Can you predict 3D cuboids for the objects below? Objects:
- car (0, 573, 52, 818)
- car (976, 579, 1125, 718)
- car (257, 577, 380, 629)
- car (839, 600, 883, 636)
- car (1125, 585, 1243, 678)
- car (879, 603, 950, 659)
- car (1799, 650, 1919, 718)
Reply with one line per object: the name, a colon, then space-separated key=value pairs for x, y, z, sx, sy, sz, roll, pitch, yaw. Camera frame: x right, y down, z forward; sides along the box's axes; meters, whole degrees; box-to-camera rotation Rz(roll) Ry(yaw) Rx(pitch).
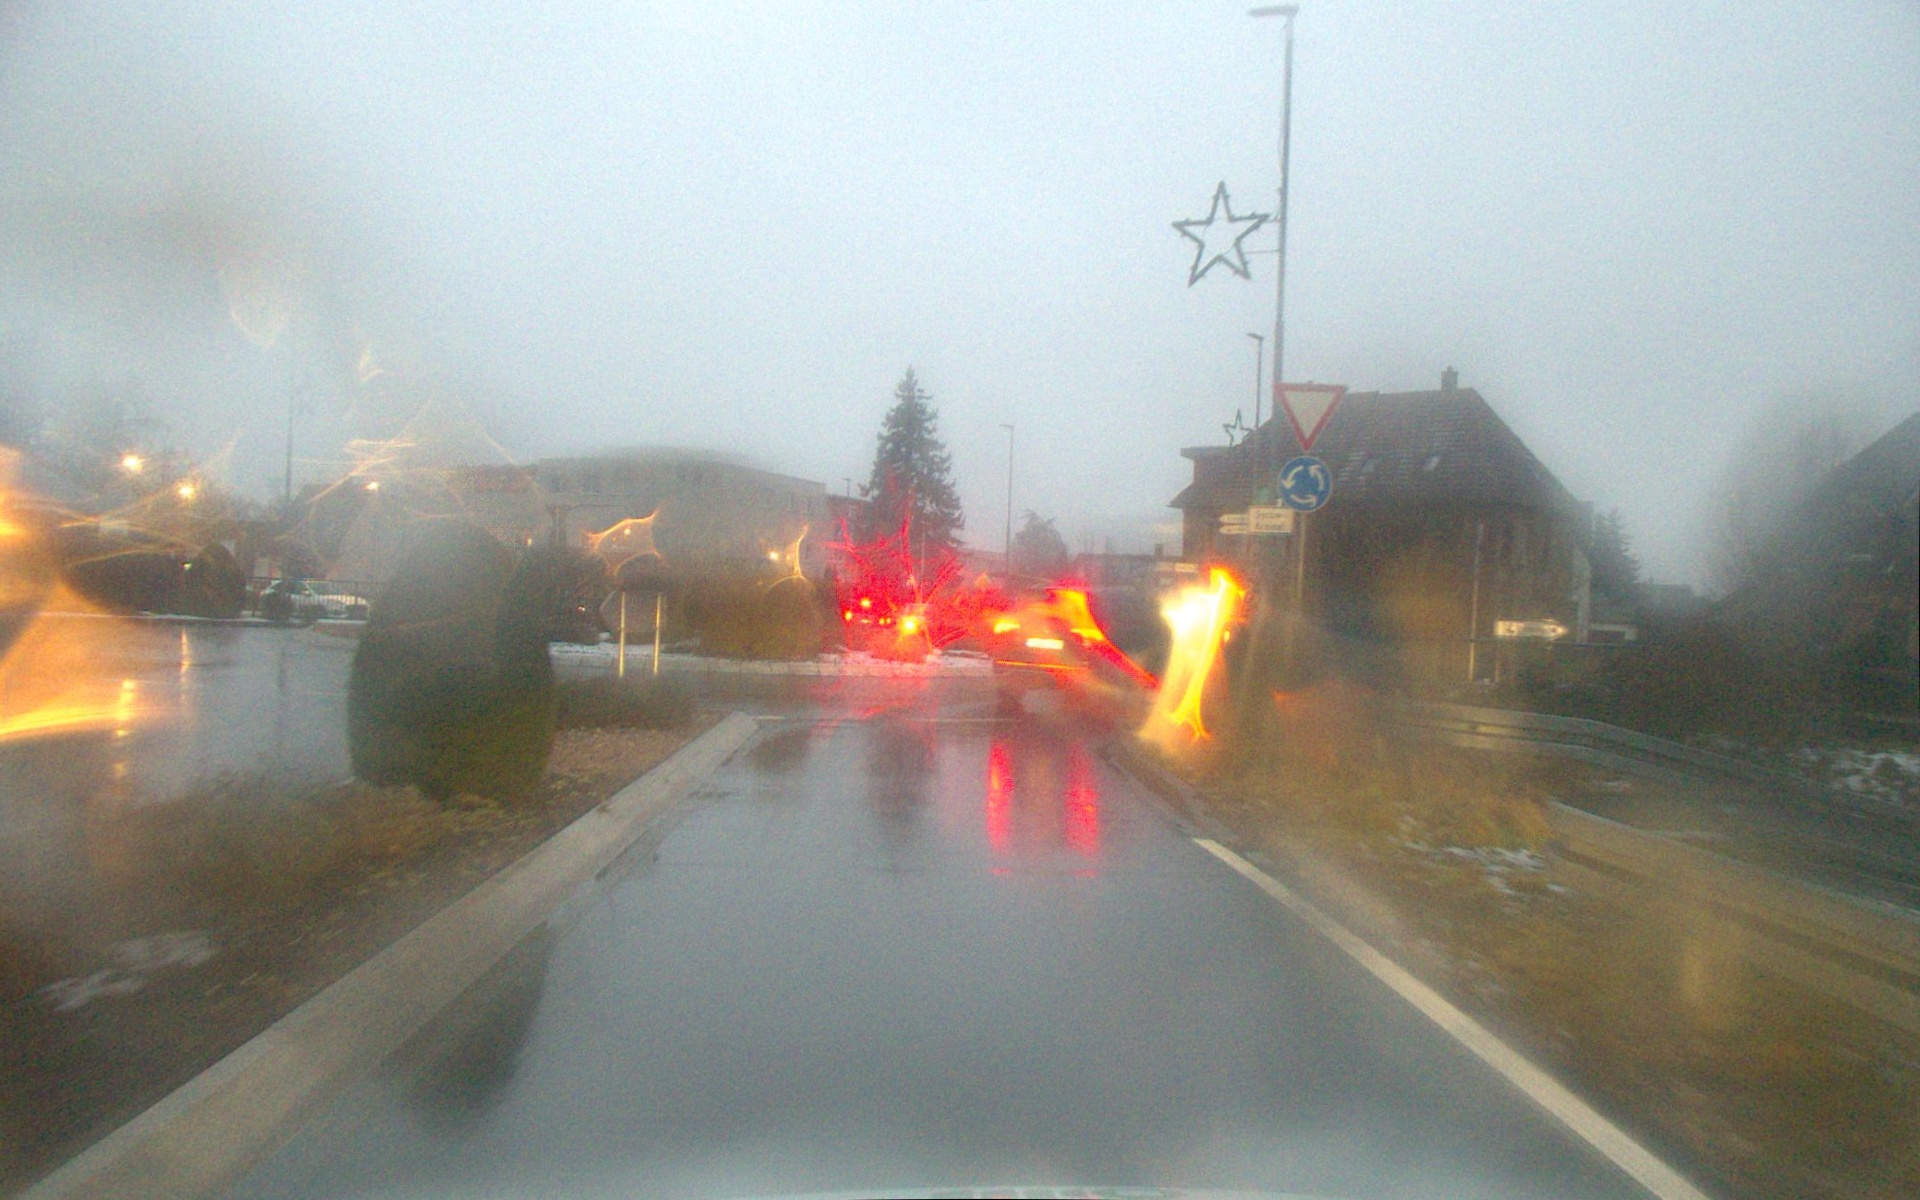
car: x=-6.493 y=0.574 z=8.838 sx=1.576 sy=1.495 sz=3.680 roll=1 pitch=0 yaw=-7
car: x=1.244 y=0.649 z=23.932 sx=1.904 sy=1.748 sz=4.001 roll=2 pitch=0 yaw=1
car: x=-23.361 y=0.105 z=60.236 sx=4.192 sy=1.588 sz=2.059 roll=3 pitch=-2 yaw=33
car: x=-4.535 y=0.822 z=75.572 sx=1.739 sy=1.571 sz=3.993 roll=1 pitch=-1 yaw=-7
car: x=4.627 y=0.605 z=34.807 sx=2.118 sy=1.719 sz=4.574 roll=2 pitch=1 yaw=4
car: x=-1.458 y=0.991 z=51.696 sx=1.846 sy=1.643 sz=4.564 roll=2 pitch=-2 yaw=-6
car: x=28.458 y=2.538 z=49.768 sx=2.345 sy=1.898 sz=5.254 roll=2 pitch=-1 yaw=-40
